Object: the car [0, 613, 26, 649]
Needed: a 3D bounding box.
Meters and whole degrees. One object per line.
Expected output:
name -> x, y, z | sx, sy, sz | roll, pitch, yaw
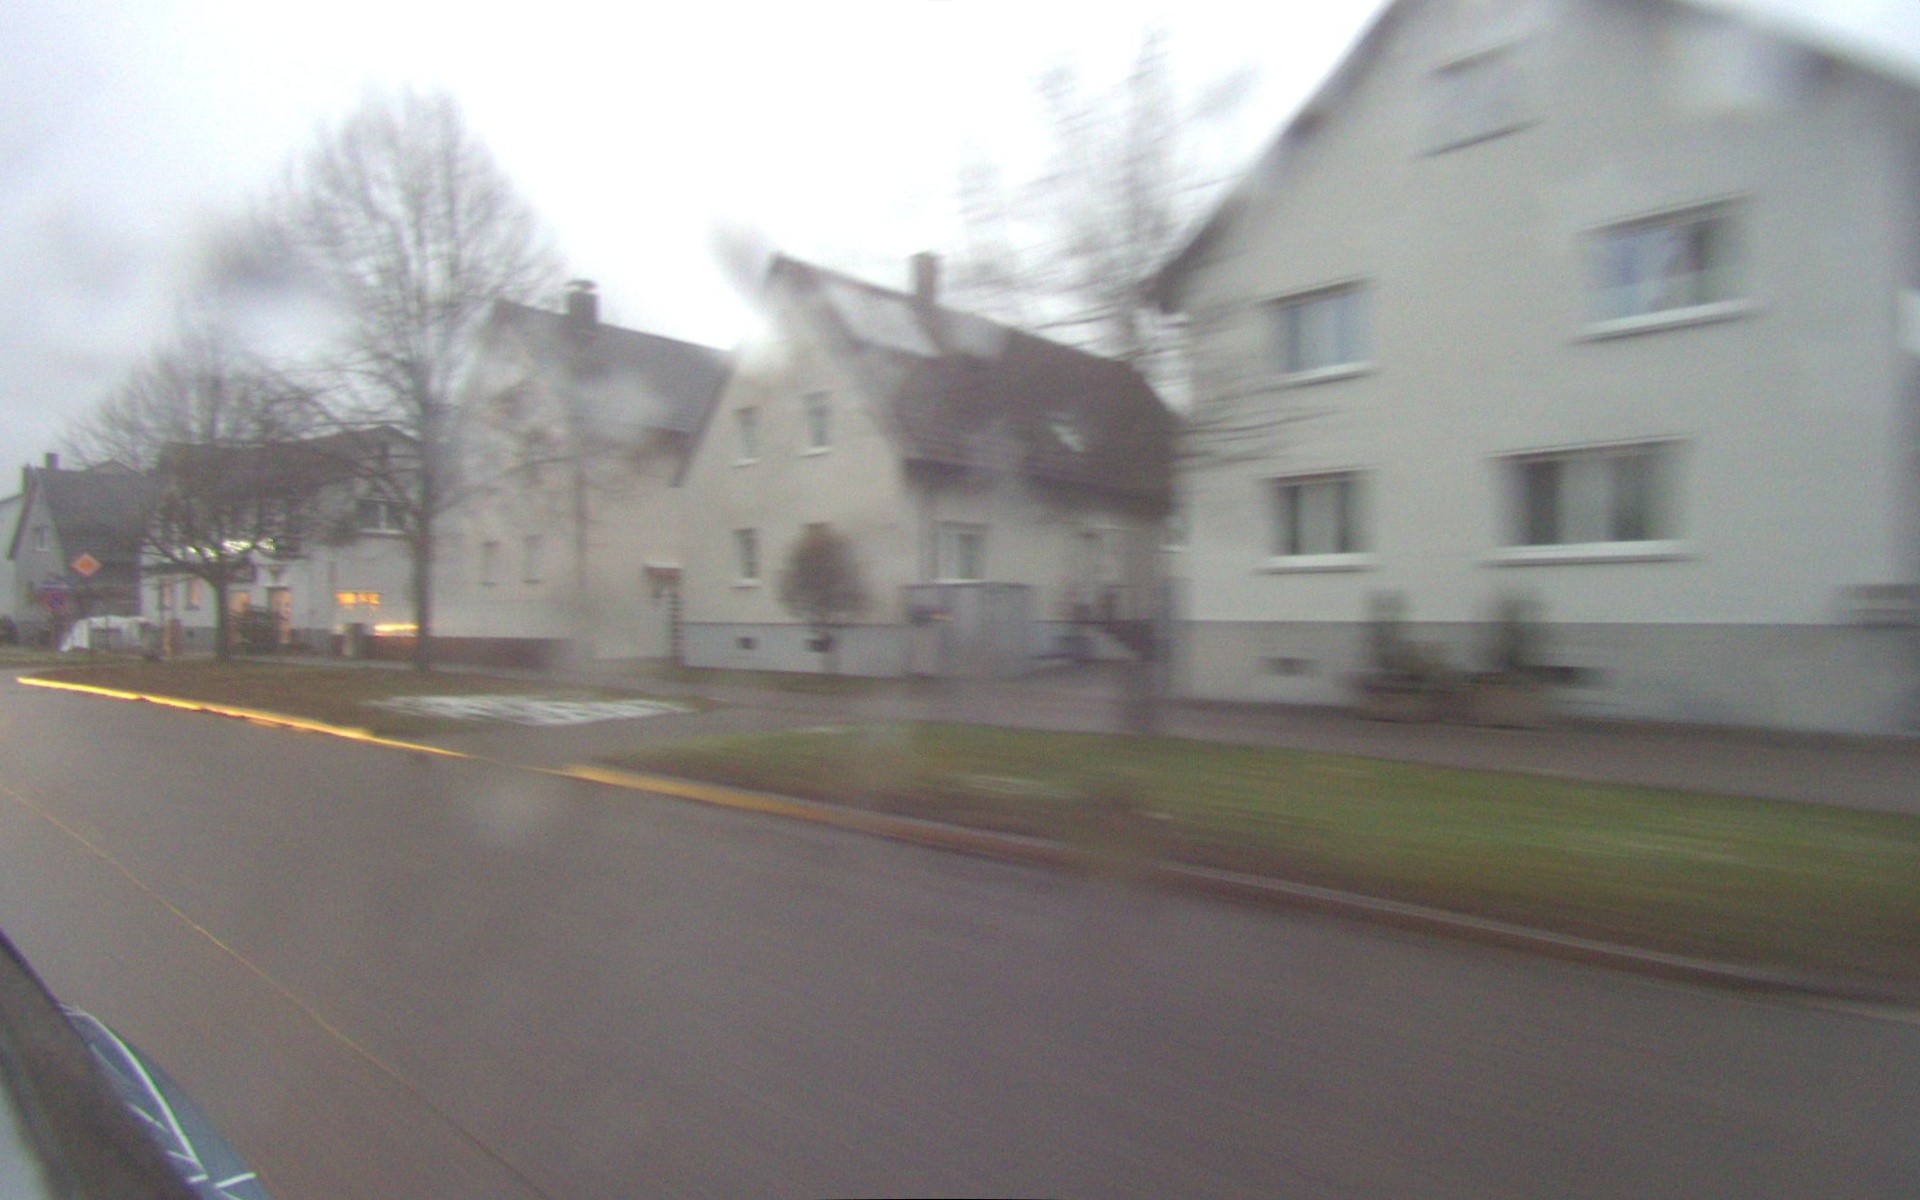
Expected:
car -> -49.578, 1.560, 51.515 | 4.556, 1.769, 1.977 | -1, -2, 34
